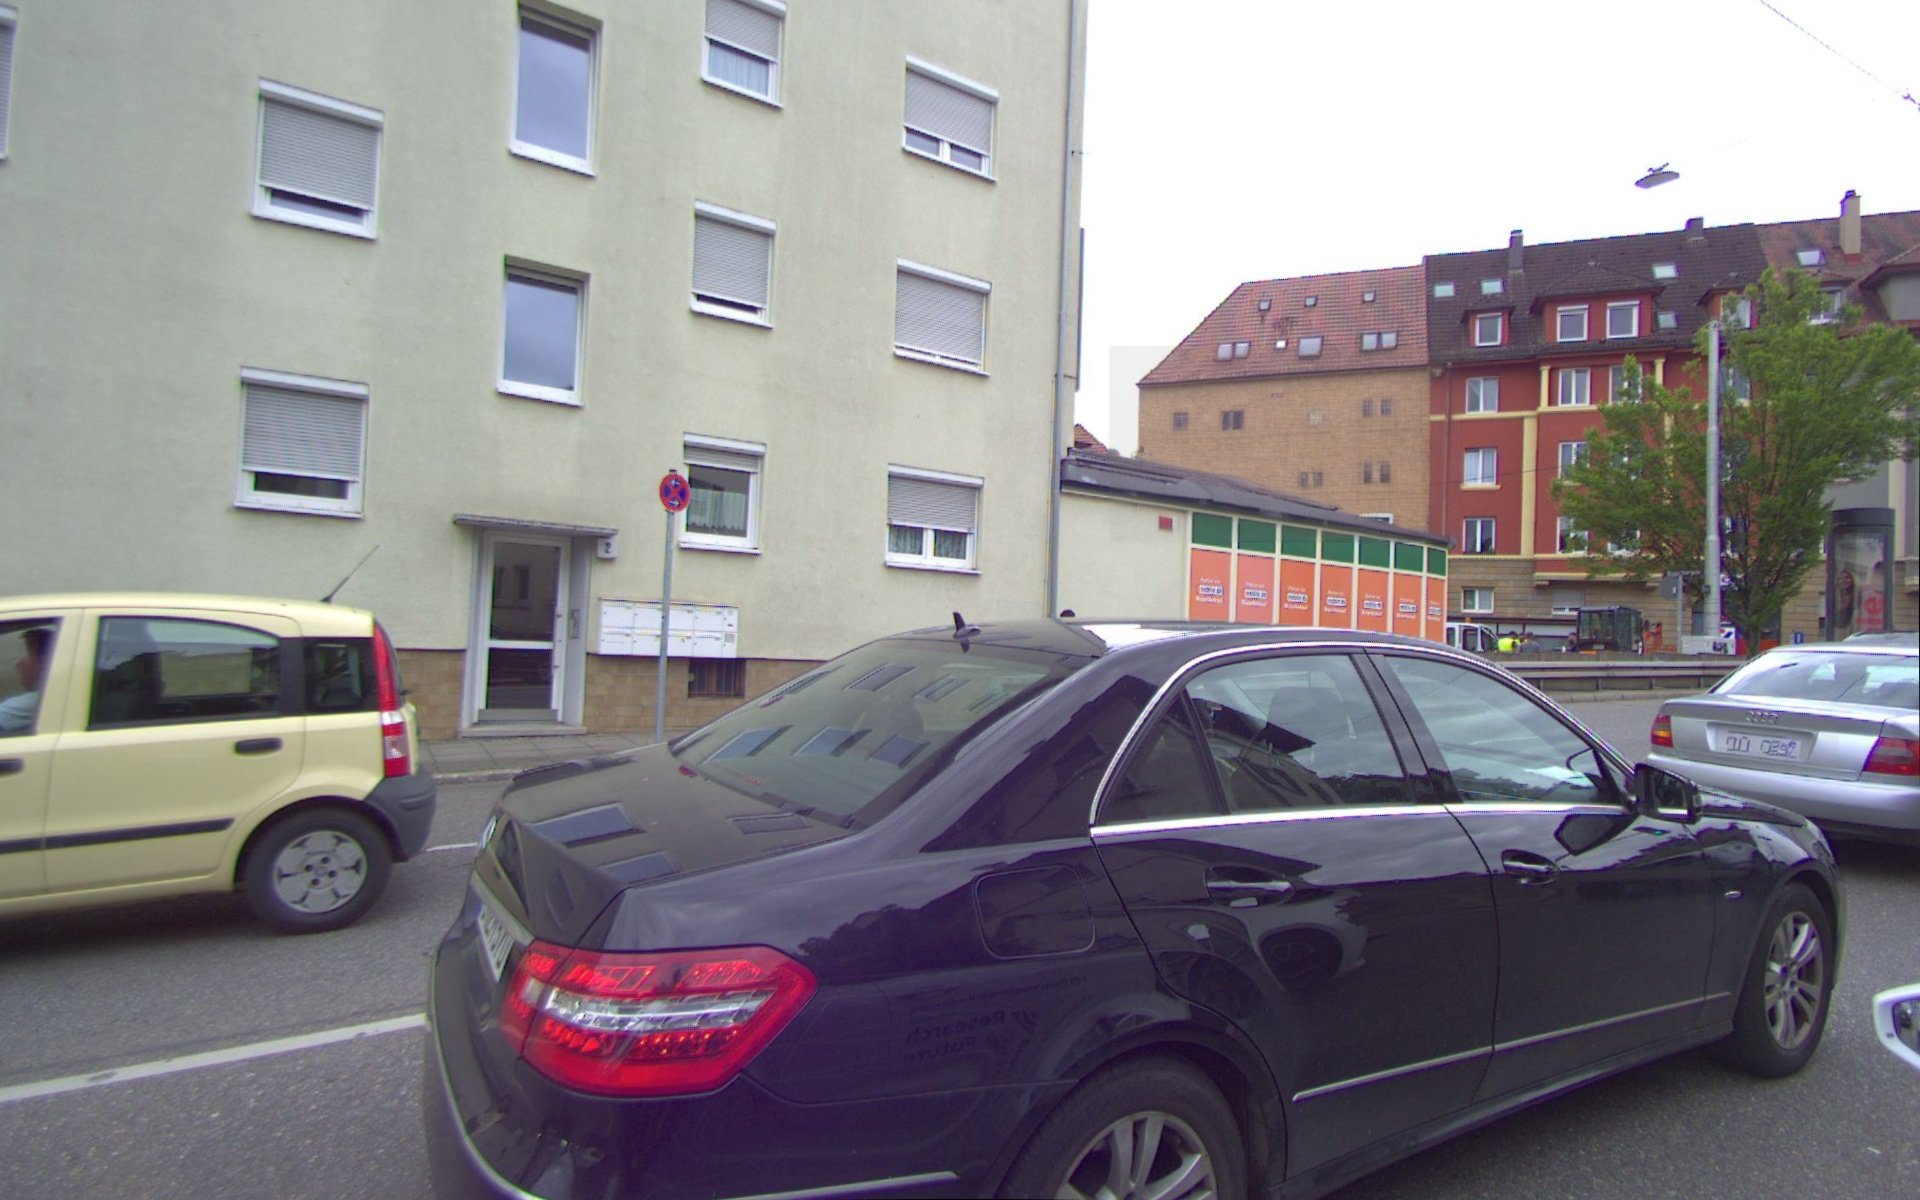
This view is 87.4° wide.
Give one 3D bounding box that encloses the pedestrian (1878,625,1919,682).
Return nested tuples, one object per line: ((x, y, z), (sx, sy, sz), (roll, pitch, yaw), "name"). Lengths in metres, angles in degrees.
((26.715, 1.496, 28.436), (0.724, 1.567, 0.795), (1, 0, -2), "pedestrian")

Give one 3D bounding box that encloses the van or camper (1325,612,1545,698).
((14.546, 1.621, 31.028), (5.894, 2.369, 2.686), (0, -1, 26), "van or camper")

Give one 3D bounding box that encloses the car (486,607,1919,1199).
((1.120, 0.789, 3.398), (4.785, 1.448, 1.984), (1, -1, -30), "car")

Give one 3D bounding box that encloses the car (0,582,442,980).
((-4.289, 0.718, 4.465), (3.420, 1.537, 1.590), (2, -3, -31), "car")

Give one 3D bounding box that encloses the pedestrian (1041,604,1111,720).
((1.712, 0.891, 14.878), (0.771, 1.658, 0.683), (1, -1, -35), "pedestrian")

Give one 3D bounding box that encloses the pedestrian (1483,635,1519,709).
((15.357, 2.020, 28.522), (0.810, 2.040, 0.680), (0, -1, 22), "pedestrian")

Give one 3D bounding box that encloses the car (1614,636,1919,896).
((6.674, 0.955, 7.036), (4.072, 1.383, 1.624), (1, -2, -25), "car")

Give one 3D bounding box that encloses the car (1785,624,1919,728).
((14.591, 1.134, 15.586), (3.487, 1.466, 1.591), (2, -3, -29), "car")

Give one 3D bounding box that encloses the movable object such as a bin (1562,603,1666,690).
((16.564, 1.148, 25.392), (3.510, 2.040, 1.363), (2, -2, -42), "movable object such as a bin")

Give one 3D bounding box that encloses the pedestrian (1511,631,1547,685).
((14.763, 1.487, 26.084), (0.613, 1.381, 0.602), (0, -1, 4), "pedestrian")
